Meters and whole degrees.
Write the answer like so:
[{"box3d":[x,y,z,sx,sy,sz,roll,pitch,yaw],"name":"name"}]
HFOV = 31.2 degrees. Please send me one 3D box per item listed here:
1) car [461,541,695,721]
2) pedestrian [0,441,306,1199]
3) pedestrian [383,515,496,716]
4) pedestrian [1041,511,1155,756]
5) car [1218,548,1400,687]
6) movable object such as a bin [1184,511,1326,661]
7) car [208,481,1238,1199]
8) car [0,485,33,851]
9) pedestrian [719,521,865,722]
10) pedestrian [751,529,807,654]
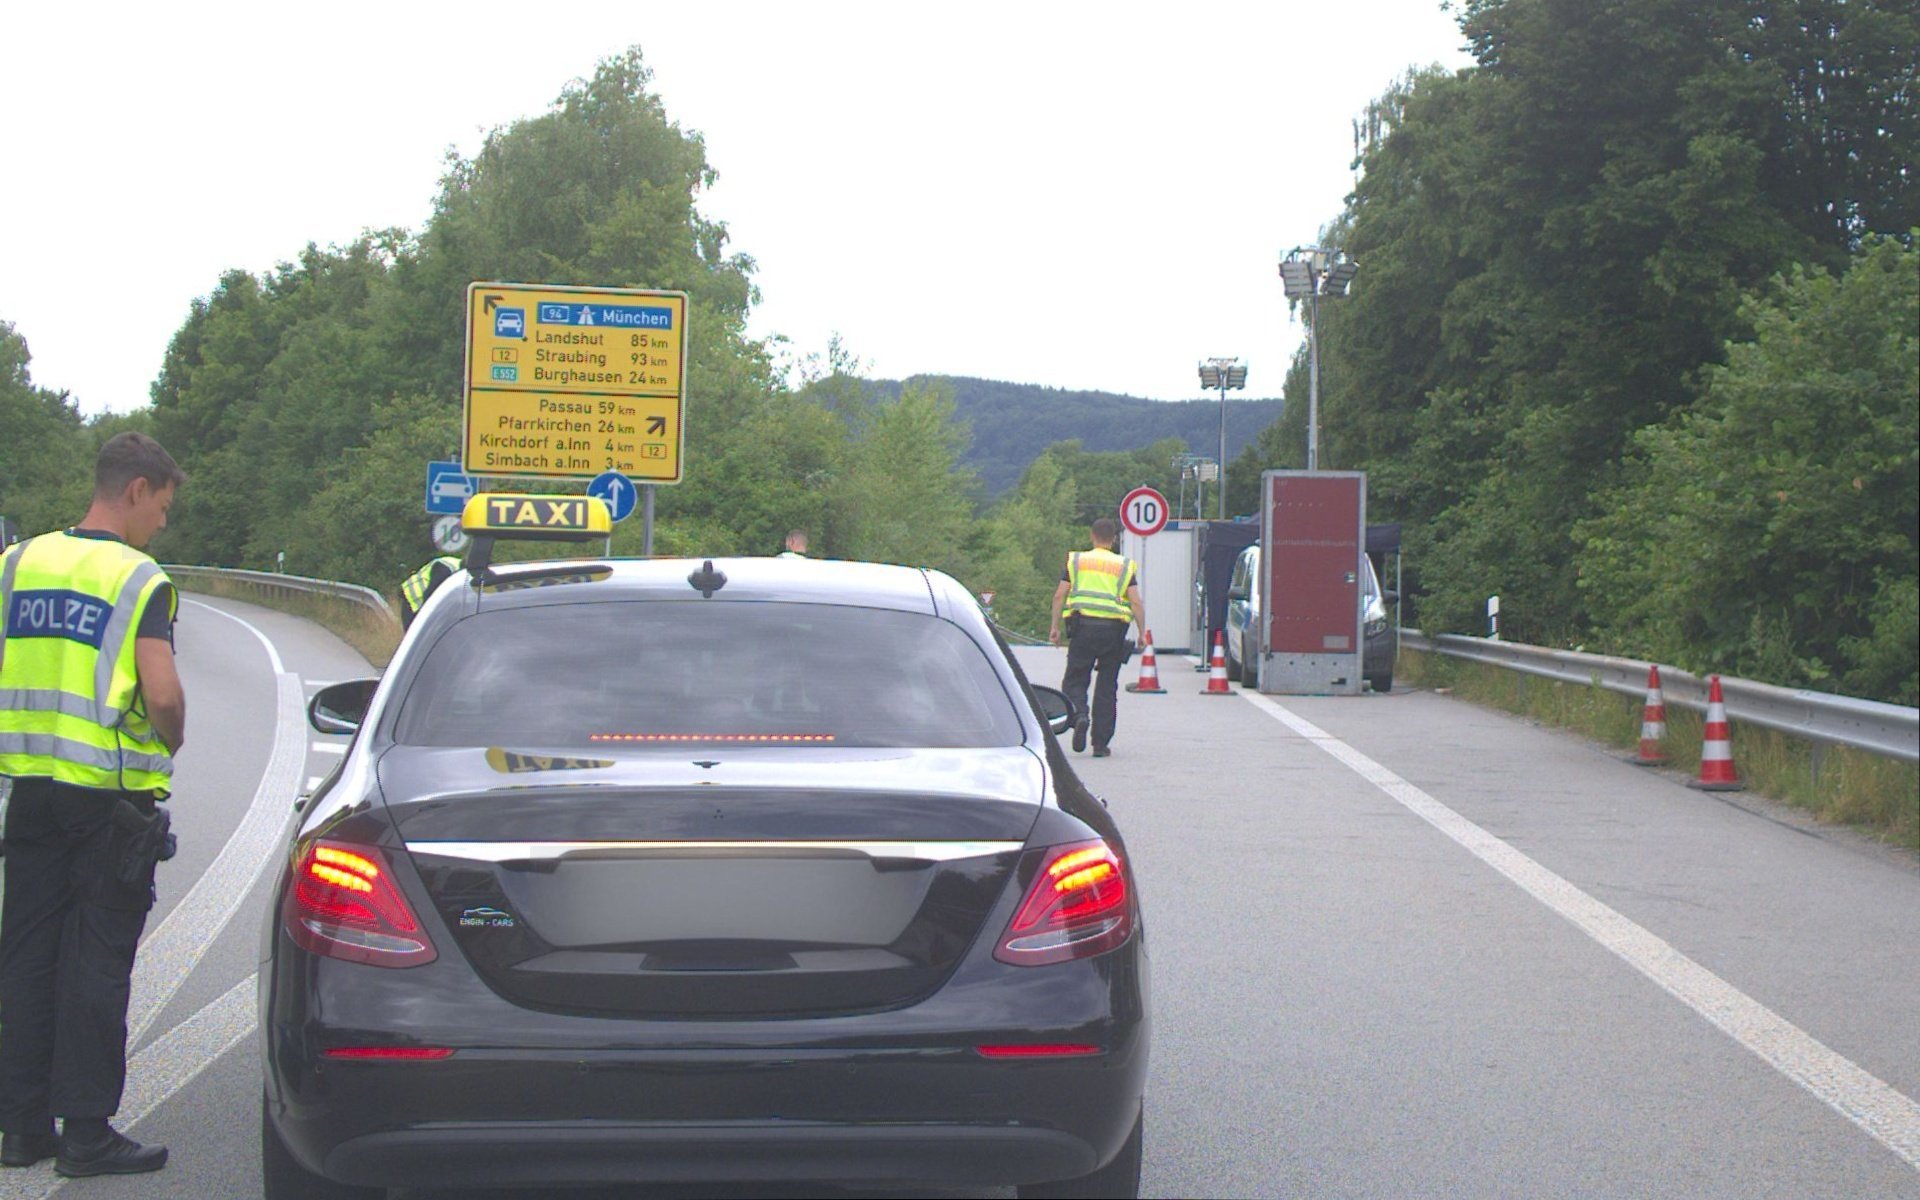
[{"box3d":[-3.347,0.224,30.781,1.855,1.493,4.257,0,1,-3],"name":"car"},{"box3d":[-2.103,0.501,8.068,0.761,1.712,0.816,1,1,37],"name":"pedestrian"},{"box3d":[-4.651,0.128,30.782,0.910,1.763,0.912,1,1,-3],"name":"pedestrian"},{"box3d":[1.038,0.246,26.027,0.812,1.824,0.809,0,1,-1],"name":"pedestrian"},{"box3d":[4.583,0.179,45.797,1.916,1.672,5.083,2,1,1],"name":"car"},{"box3d":[4.639,-0.251,54.636,1.993,2.272,4.168,1,1,2],"name":"movable object such as a bin"},{"box3d":[-0.619,0.551,8.412,1.855,1.589,4.376,0,1,-5],"name":"car"},{"box3d":[-5.383,0.337,15.014,1.868,1.737,4.009,0,1,-4],"name":"car"},{"box3d":[-1.447,0.173,29.590,0.908,1.692,0.914,0,1,-32],"name":"pedestrian"},{"box3d":[-2.846,-0.144,54.137,0.664,1.954,0.759,0,1,15],"name":"pedestrian"}]
